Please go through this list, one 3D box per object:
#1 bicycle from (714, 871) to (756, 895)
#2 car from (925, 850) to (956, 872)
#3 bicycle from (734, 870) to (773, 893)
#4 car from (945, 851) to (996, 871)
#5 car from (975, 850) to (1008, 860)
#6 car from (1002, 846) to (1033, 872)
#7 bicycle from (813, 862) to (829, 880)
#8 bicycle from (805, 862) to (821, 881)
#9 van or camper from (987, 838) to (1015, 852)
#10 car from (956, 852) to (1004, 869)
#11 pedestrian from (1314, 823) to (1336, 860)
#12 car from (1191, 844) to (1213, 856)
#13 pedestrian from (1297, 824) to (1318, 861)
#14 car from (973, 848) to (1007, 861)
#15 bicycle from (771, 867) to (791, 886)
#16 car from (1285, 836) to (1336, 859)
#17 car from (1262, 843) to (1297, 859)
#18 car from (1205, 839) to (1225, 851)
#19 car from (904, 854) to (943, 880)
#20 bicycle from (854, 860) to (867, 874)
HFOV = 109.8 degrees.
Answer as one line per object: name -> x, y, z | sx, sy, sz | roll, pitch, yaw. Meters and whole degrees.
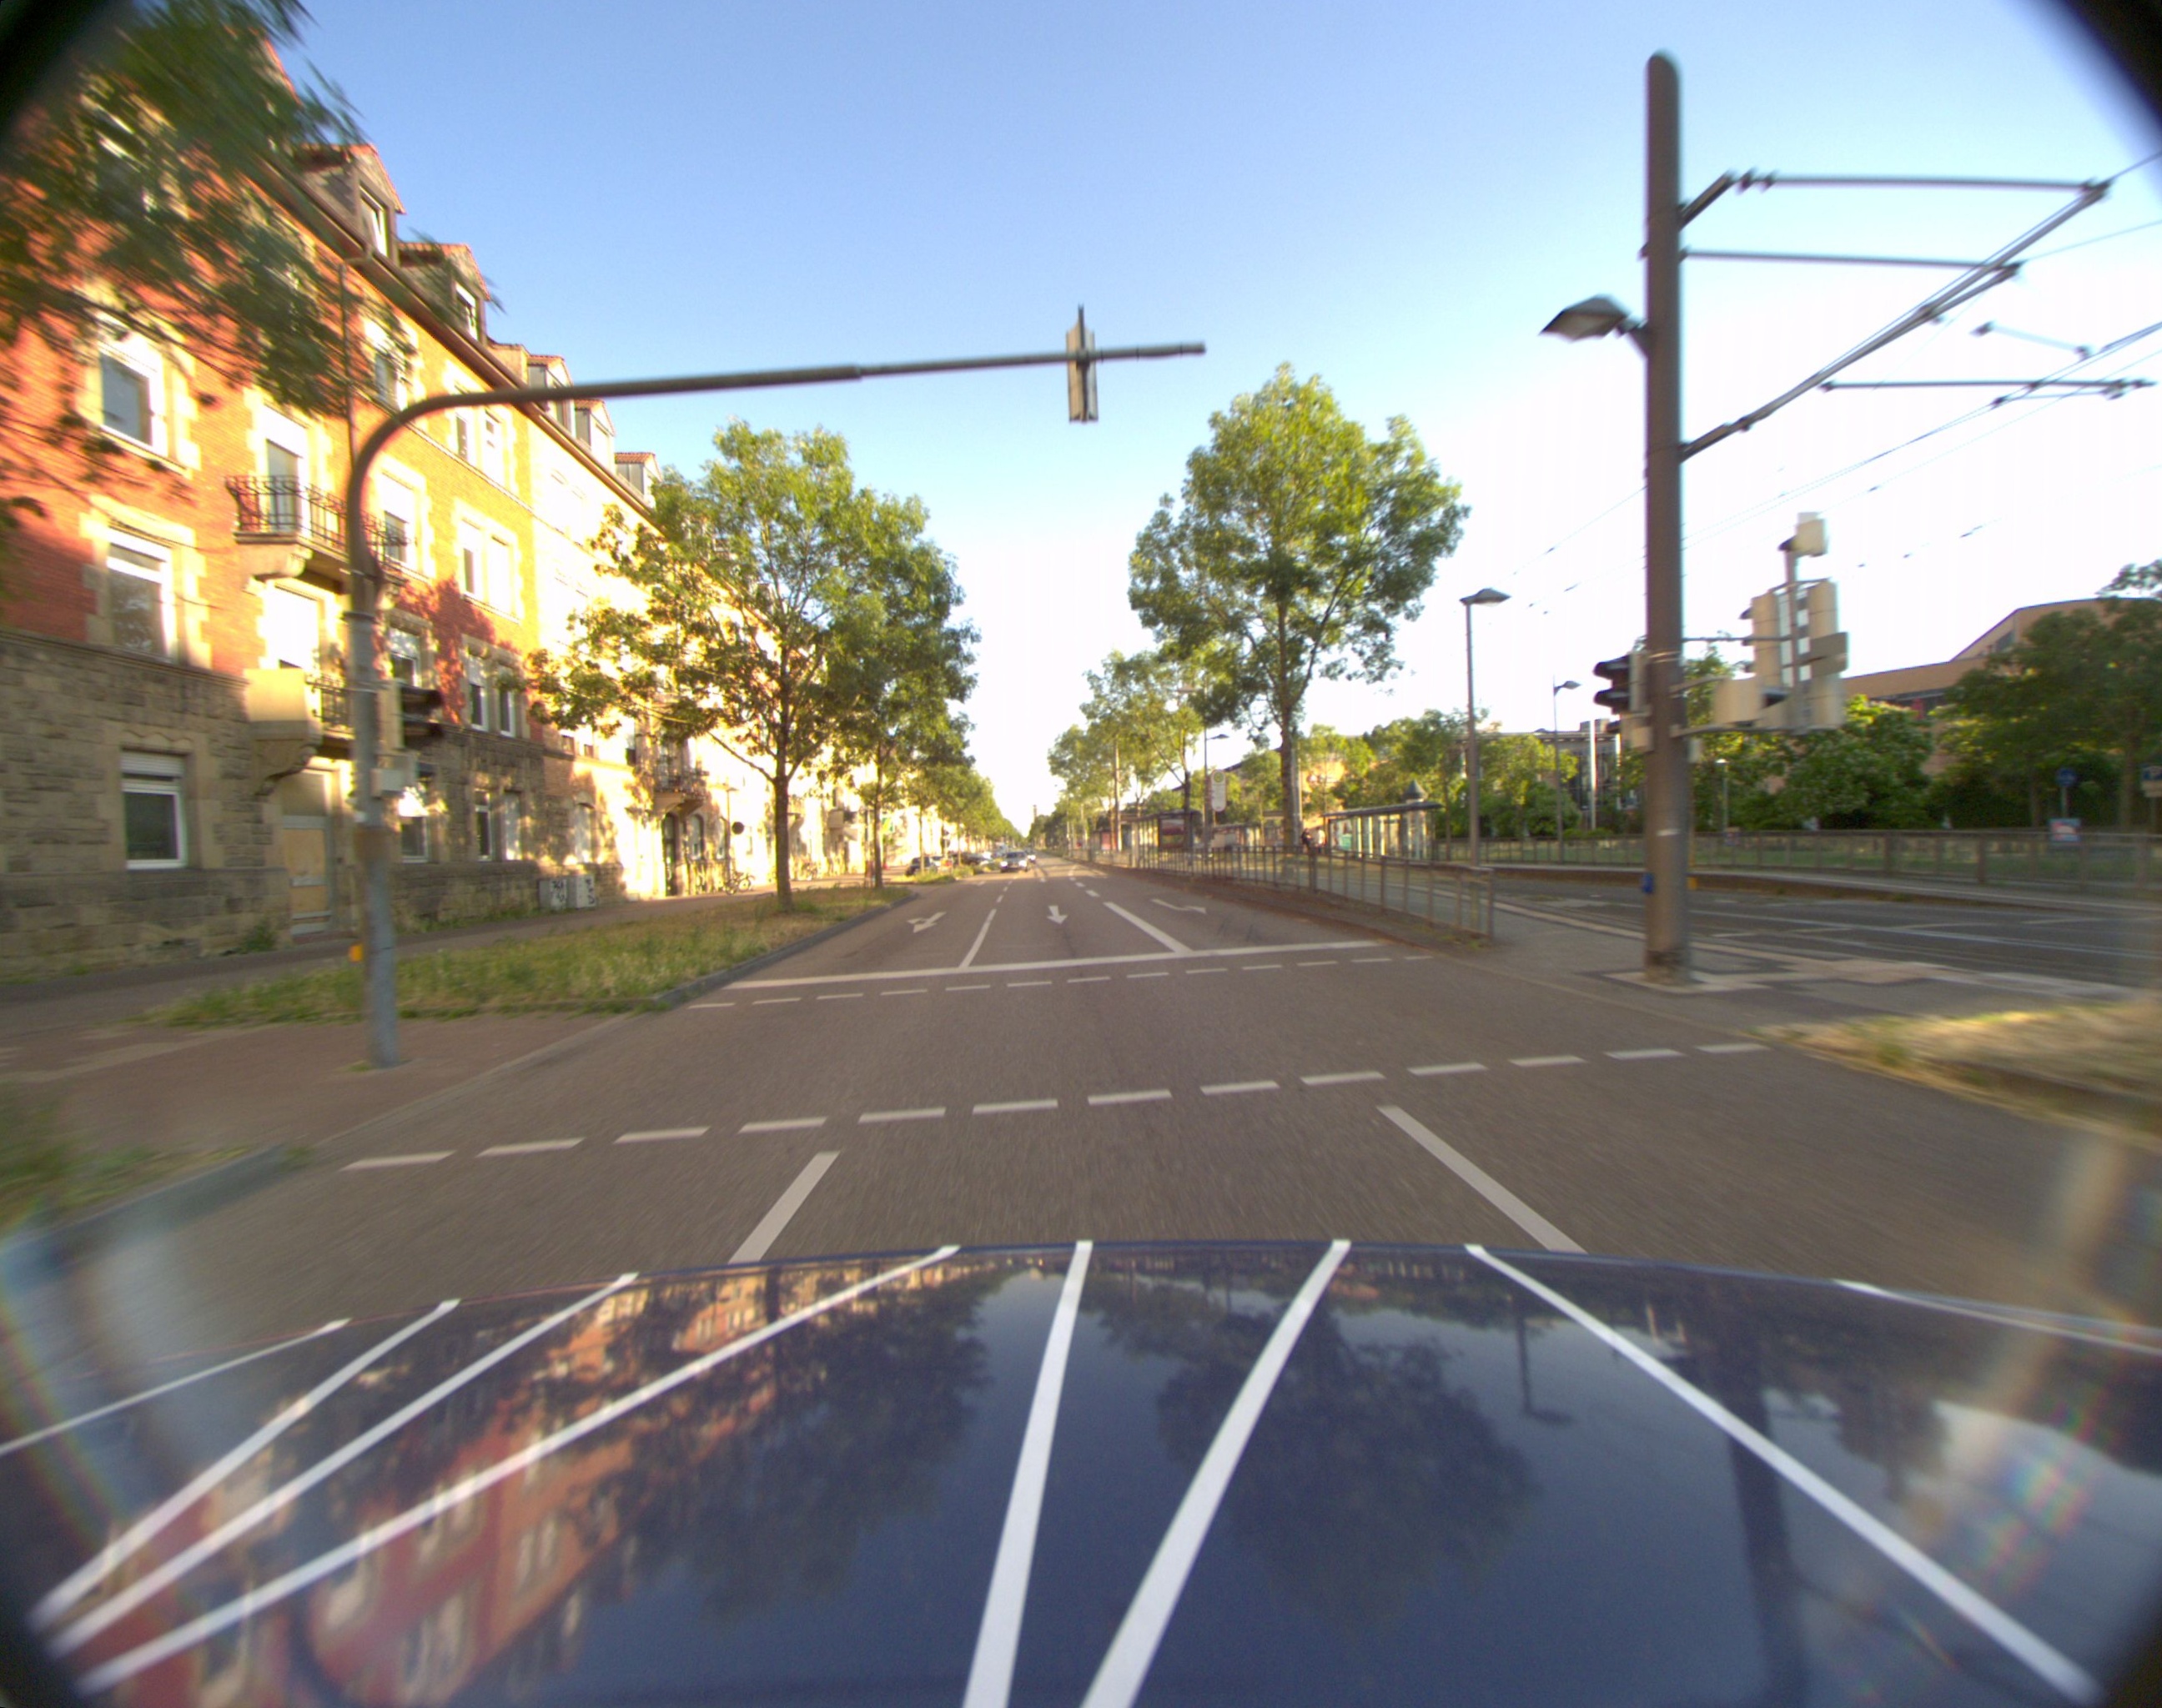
bicycle -> -14.608, 1.219, 32.131 | 0.874, 0.911, 2.084 | -1, 1, -2
car -> -10.768, 0.531, 58.492 | 1.730, 1.503, 4.270 | -5, 1, -4
bicycle -> -14.914, 1.225, 34.673 | 0.735, 0.943, 2.339 | -1, 1, 0
car -> -10.391, 0.646, 71.417 | 4.331, 1.562, 2.005 | -4, 0, 29
car -> -13.462, 0.121, 114.634 | 4.543, 1.392, 2.034 | -2, 2, 27
car -> -4.353, 0.297, 52.540 | 1.999, 1.655, 3.998 | -2, 1, -4
bicycle -> -17.598, 1.145, 51.458 | 0.484, 1.158, 1.745 | 3, 0, -4
bicycle -> -17.478, 1.117, 49.559 | 0.484, 1.158, 1.745 | 3, 0, -4
van or camper -> -17.637, -1.953, 166.964 | 5.637, 2.796, 2.208 | -2, 1, 28
car -> -9.787, 0.625, 73.872 | 4.276, 1.513, 1.850 | -2, 1, 29
pedestrian -> 13.599, -0.699, 42.361 | 0.772, 2.002, 1.127 | -2, 1, -2
car -> 14.227, -0.517, 89.252 | 1.698, 1.290, 3.998 | -2, 1, -4
pedestrian -> 12.790, -0.651, 42.856 | 0.772, 2.002, 1.127 | -2, 1, -2
car -> -13.006, 0.100, 108.676 | 4.421, 1.682, 1.919 | -2, 1, 31
bicycle -> -16.971, 1.248, 42.962 | 0.484, 1.000, 1.745 | -2, 1, -4
car -> 16.721, -0.456, 55.559 | 1.999, 1.543, 4.892 | -2, 1, -3
car -> 17.961, -0.297, 68.995 | 1.614, 1.405, 4.432 | -2, 1, -5
car -> 16.671, -1.145, 94.851 | 1.616, 1.368, 3.747 | 1, 1, -3
car -> -10.111, 0.824, 49.059 | 1.708, 1.440, 4.286 | -5, 1, -3
bicycle -> -18.541, 1.097, 63.937 | 0.574, 1.067, 1.895 | -1, 1, -4
